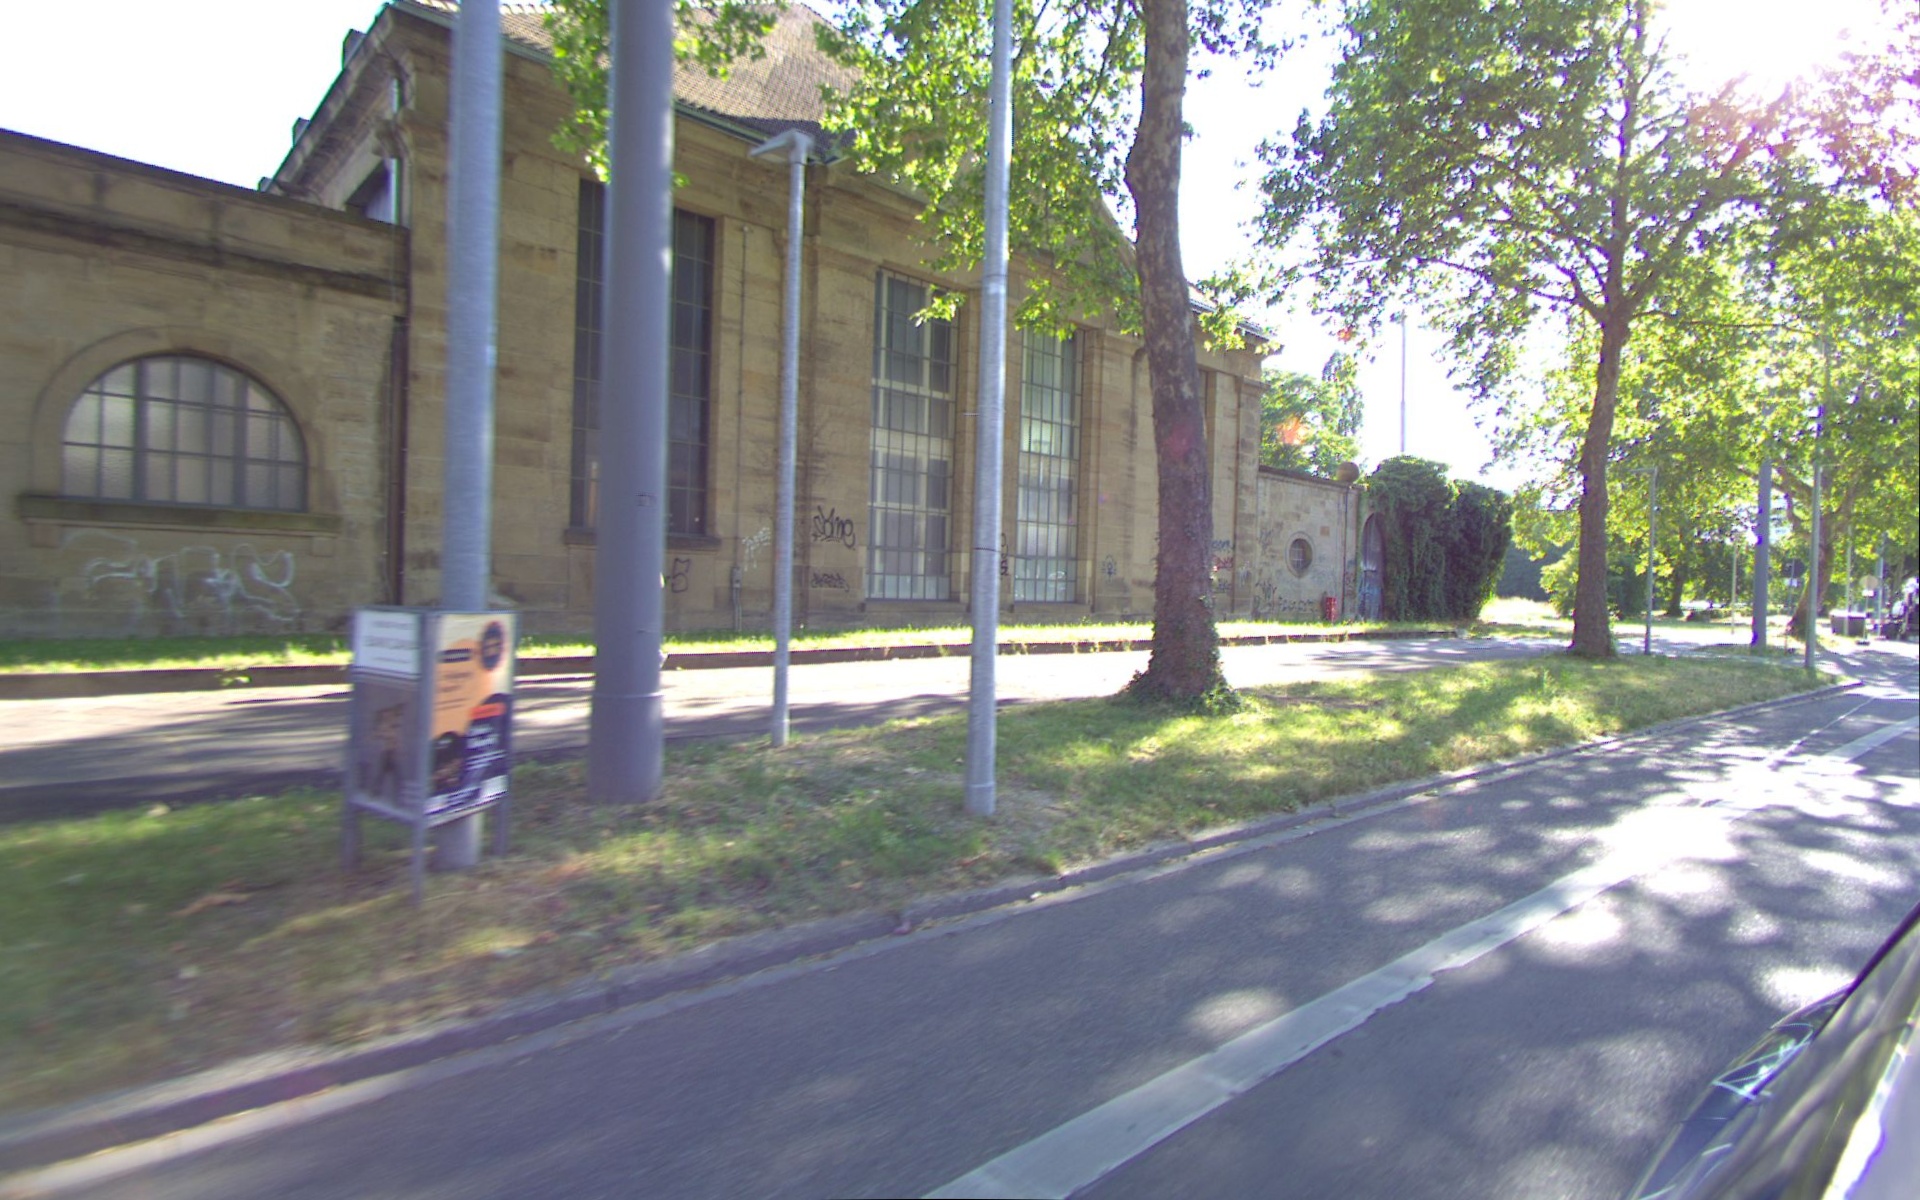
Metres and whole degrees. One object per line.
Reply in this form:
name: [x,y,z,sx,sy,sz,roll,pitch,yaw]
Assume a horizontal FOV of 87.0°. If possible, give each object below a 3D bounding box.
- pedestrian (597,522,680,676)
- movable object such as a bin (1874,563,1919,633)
pedestrian: [-3.726,-0.024,11.728,0.609,1.701,0.626,8,5,45]
movable object such as a bin: [47.363,-0.011,49.763,7.095,3.183,2.750,1,4,-43]
